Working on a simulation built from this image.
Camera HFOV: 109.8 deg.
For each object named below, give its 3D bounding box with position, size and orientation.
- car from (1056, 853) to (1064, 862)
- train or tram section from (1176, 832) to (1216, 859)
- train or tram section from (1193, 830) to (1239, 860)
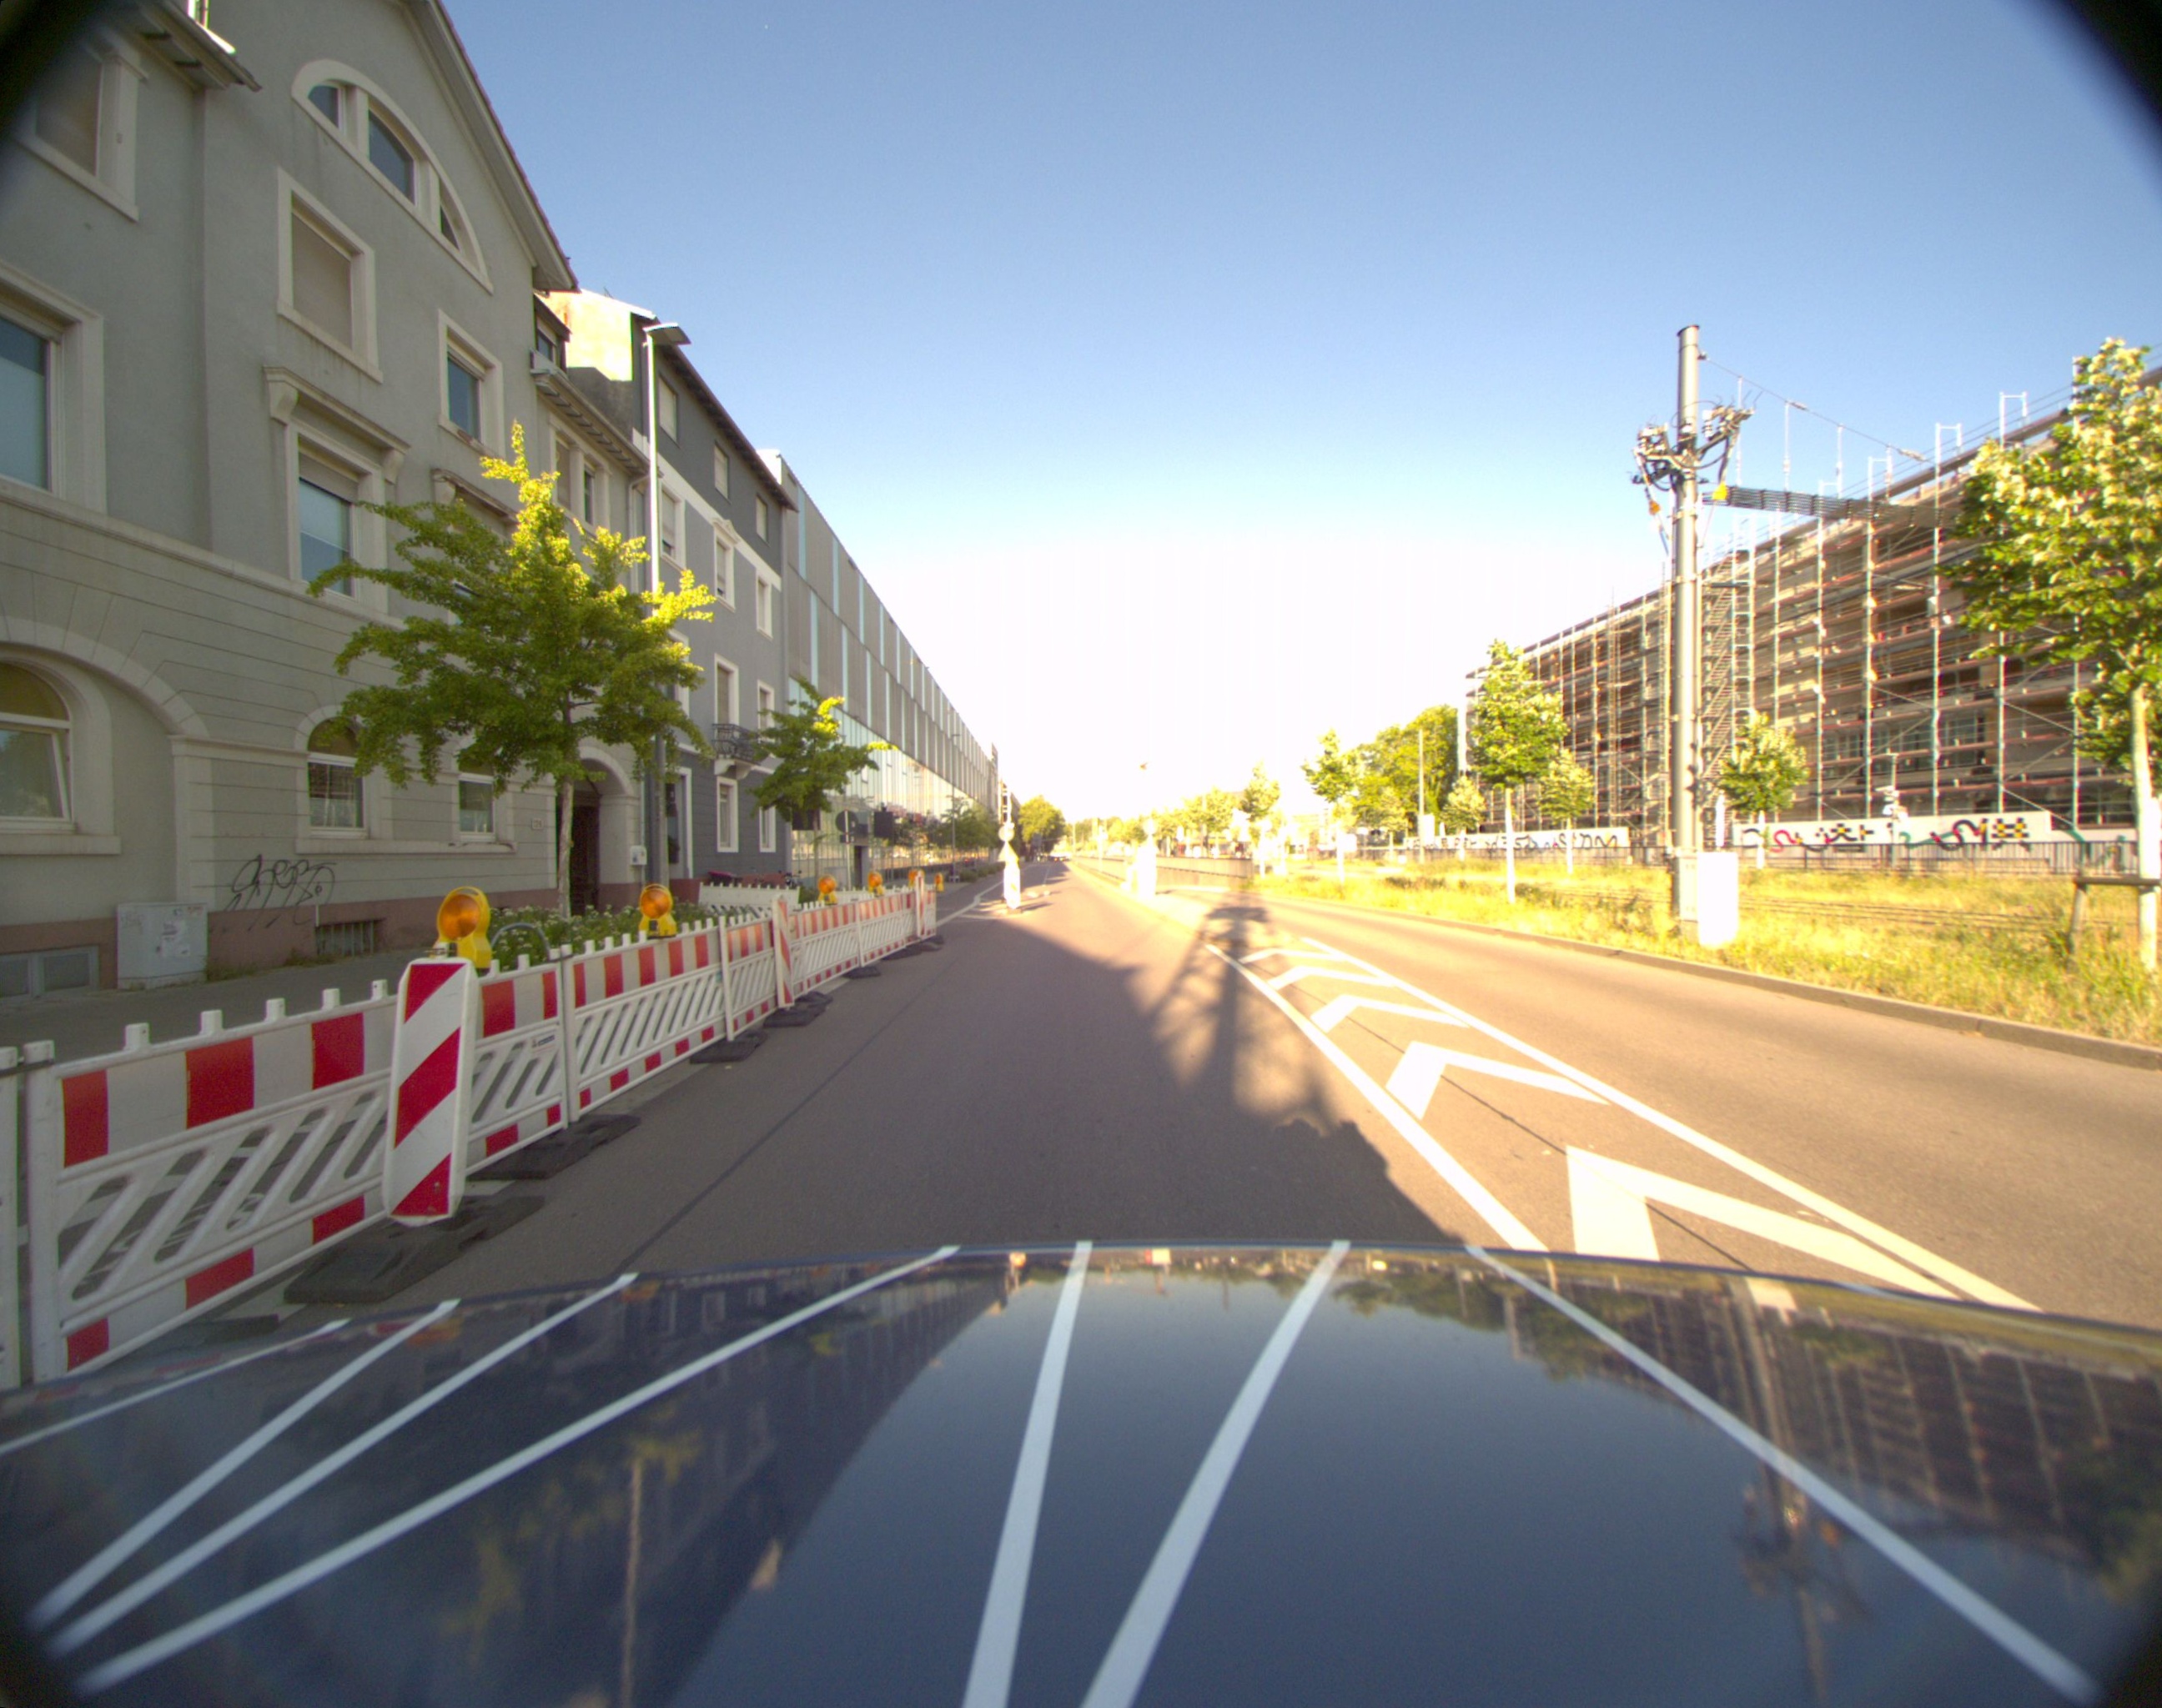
[{"bbox_3d":[-5.137,0.809,187.327,1.941,2.002,3.825,-1,0,-3],"label":"car"},{"bbox_3d":[16.167,-1.210,107.912,2.954,3.378,14.761,-2,1,-2],"label":"train or tram section"},{"bbox_3d":[16.547,-1.086,94.205,2.954,3.378,12.630,-2,1,-2],"label":"train or tram section"}]
